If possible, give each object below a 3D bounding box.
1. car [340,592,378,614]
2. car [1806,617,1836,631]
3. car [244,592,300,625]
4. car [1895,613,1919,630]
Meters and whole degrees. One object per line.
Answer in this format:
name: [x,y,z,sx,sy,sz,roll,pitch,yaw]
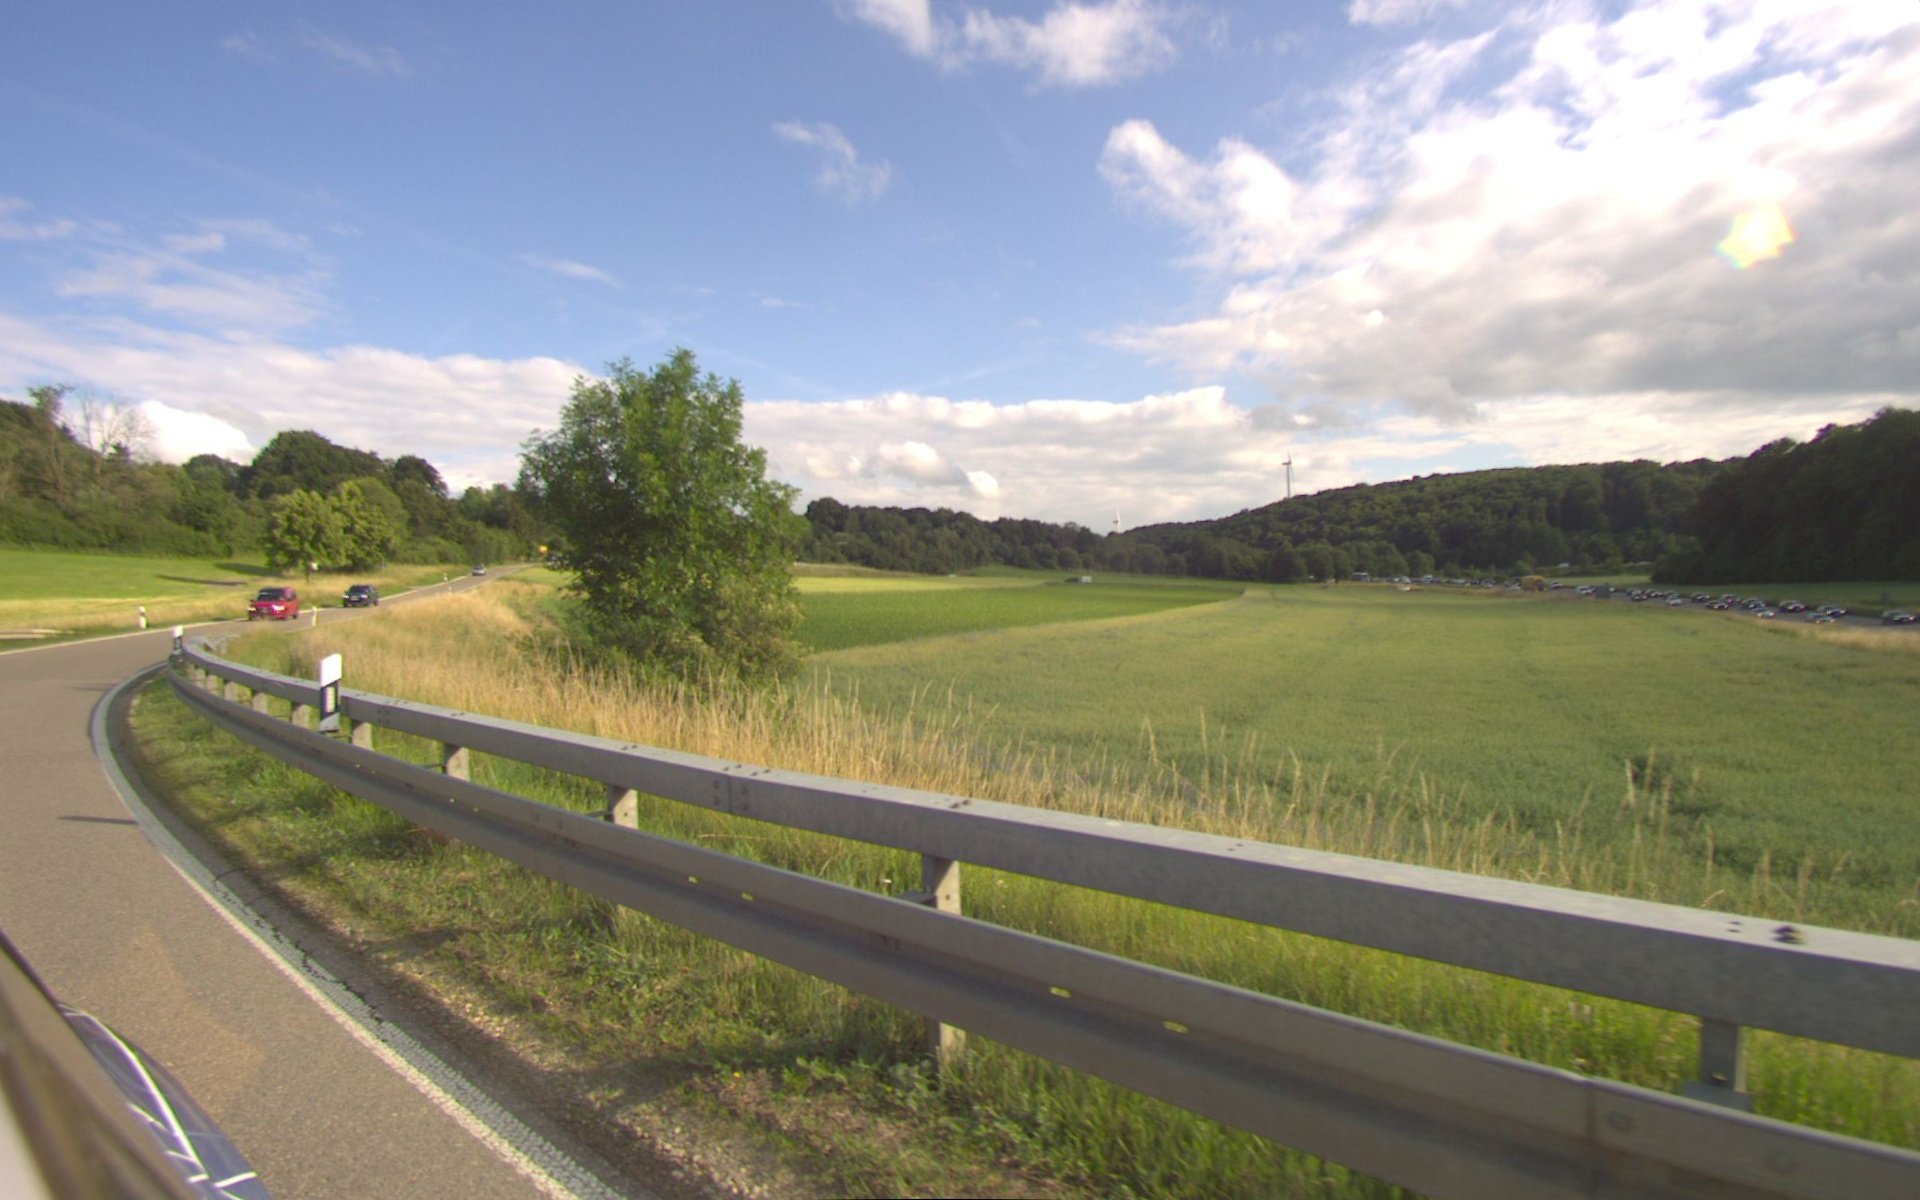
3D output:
car: [-46.332,0.240,78.093,1.791,1.623,4.013,1,1,-21]
car: [100.668,2.839,118.351,1.820,1.453,3.963,-2,0,27]
car: [-38.173,0.445,56.227,1.791,1.667,4.014,0,2,-22]
car: [104.780,2.366,111.269,1.794,1.599,3.964,-1,2,27]
